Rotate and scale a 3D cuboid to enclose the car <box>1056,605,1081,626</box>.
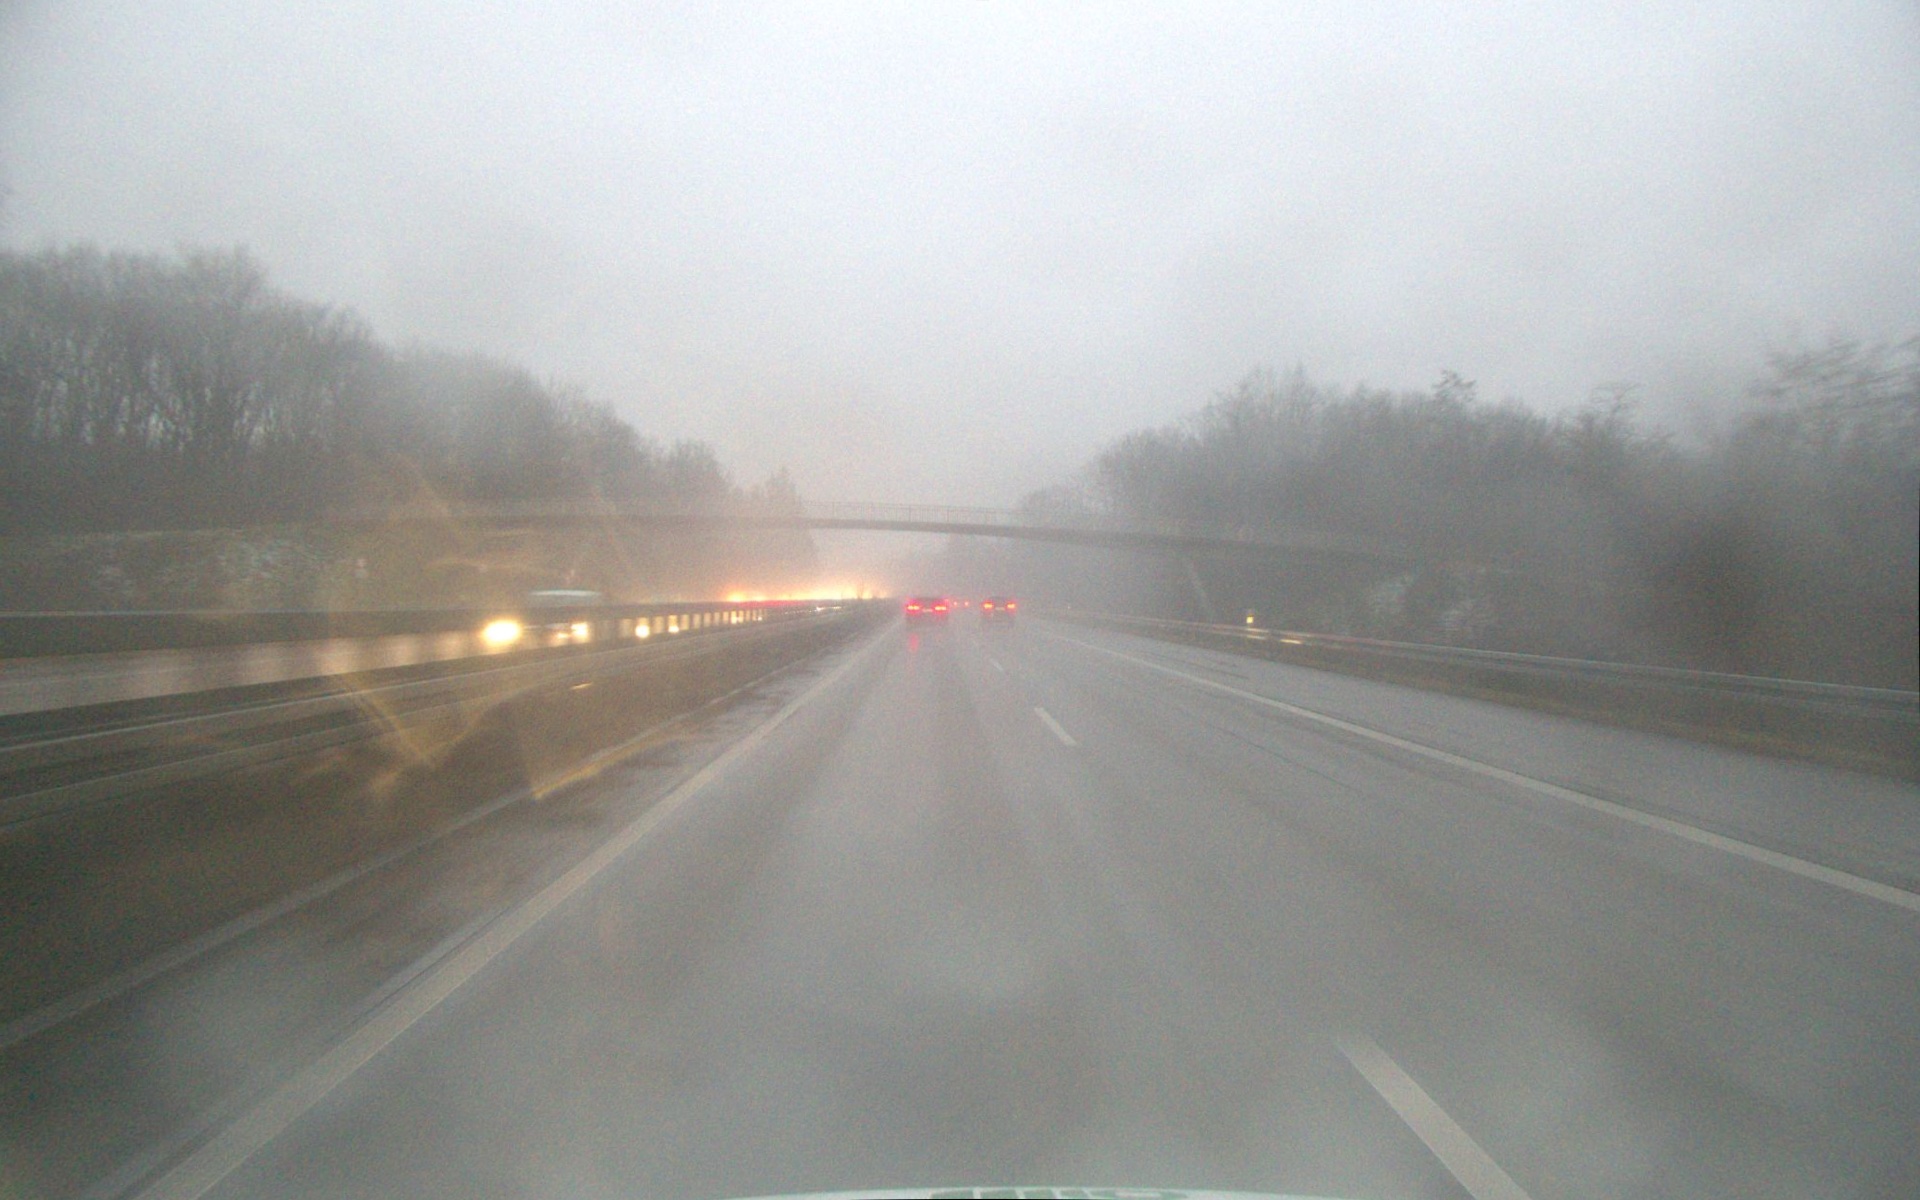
[{"bbox_3d":[7.527,1.086,115.254,1.424,1.367,3.489,1,0,-1],"label":"car"}]

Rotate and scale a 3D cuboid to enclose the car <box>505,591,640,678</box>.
[{"bbox_3d":[-7.695,0.654,33.264,1.650,1.560,4.576,2,0,-1],"label":"car"}]

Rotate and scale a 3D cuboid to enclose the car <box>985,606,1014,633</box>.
[{"bbox_3d":[2.128,1.047,90.299,1.424,1.454,3.489,1,0,-1],"label":"car"}]

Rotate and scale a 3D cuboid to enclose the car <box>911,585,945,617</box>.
[{"bbox_3d":[-1.416,0.059,73.214,1.424,1.367,3.489,1,0,-1],"label":"car"}]
